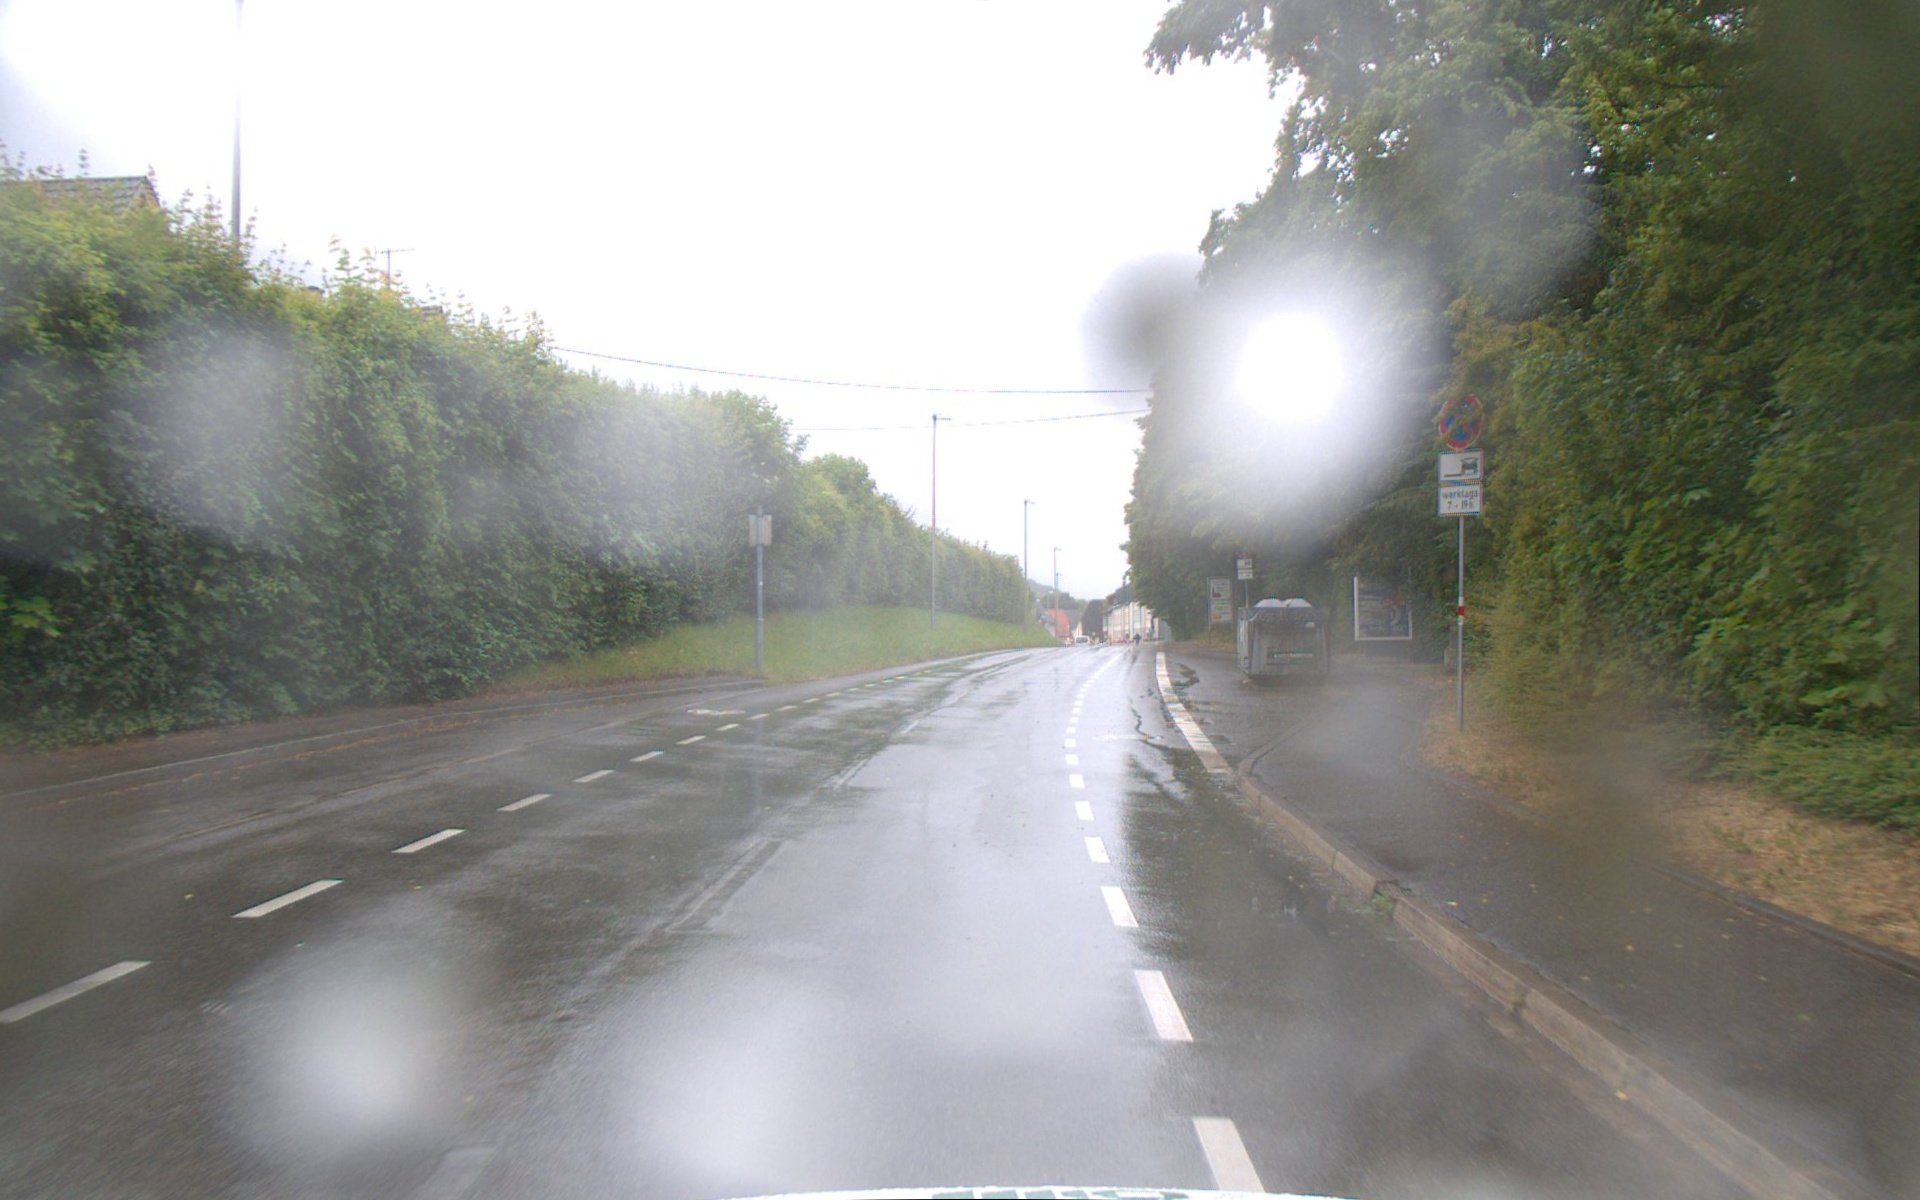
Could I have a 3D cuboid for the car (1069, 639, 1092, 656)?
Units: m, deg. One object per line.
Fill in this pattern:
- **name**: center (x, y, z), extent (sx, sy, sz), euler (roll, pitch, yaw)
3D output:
- **car**: center (12.372, 4.860, 170.161), extent (1.953, 1.639, 3.998), euler (2, 0, -2)
